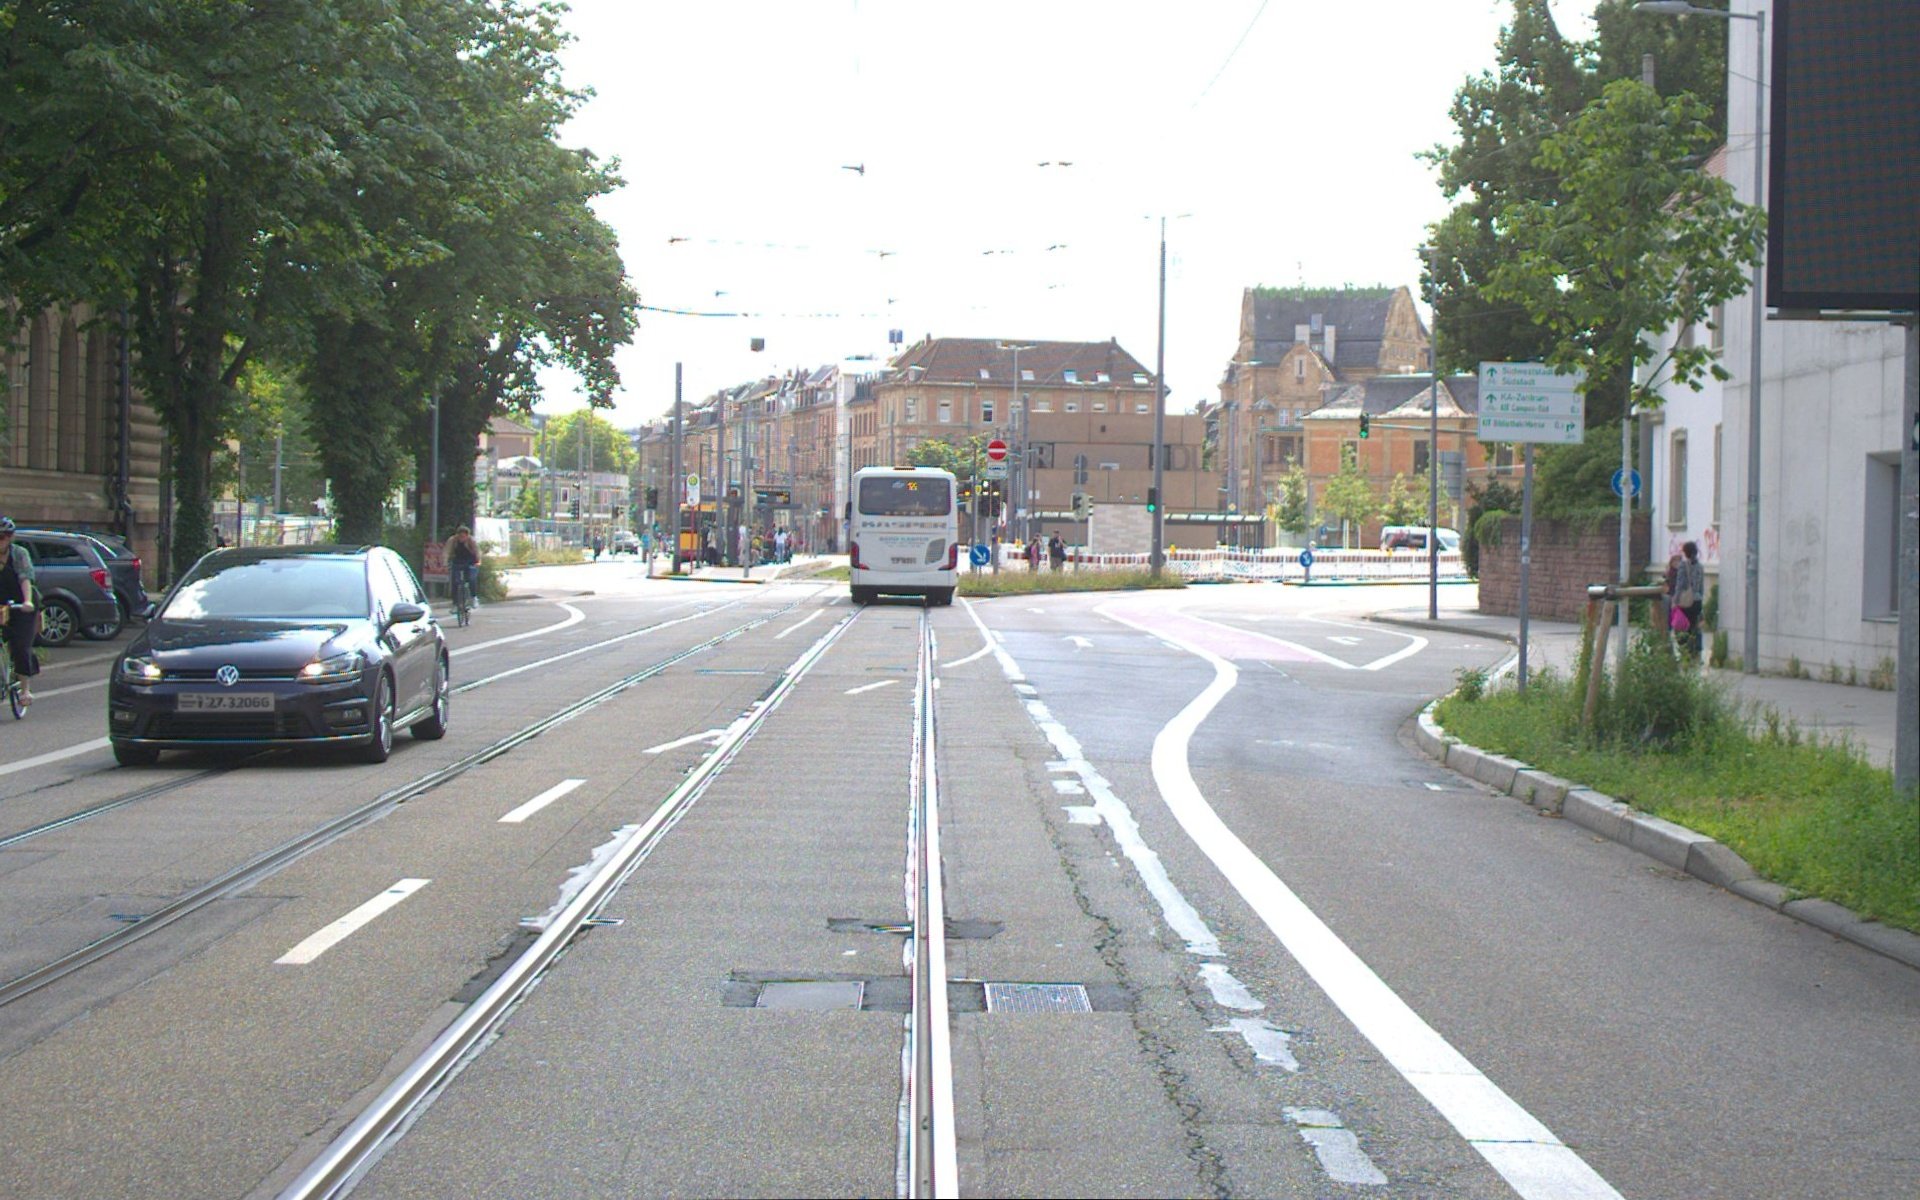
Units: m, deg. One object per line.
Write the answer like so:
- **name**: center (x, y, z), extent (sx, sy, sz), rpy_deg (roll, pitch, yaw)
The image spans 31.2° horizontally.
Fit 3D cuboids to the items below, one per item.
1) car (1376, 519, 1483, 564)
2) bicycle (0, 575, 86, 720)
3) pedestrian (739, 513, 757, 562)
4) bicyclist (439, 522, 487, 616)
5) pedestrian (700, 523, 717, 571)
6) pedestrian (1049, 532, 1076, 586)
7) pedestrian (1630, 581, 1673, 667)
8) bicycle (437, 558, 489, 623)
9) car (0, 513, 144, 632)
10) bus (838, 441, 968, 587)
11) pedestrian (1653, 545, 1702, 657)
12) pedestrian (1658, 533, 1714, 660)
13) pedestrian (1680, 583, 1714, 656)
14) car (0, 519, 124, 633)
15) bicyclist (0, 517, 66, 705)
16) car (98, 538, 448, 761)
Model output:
- **car**: center (24.624, -3.081, 180.584), extent (2.294, 2.311, 5.588), rpy_deg (1, 1, -37)
- **bicycle**: center (-7.775, 0.388, 28.098), extent (0.602, 1.093, 2.023), rpy_deg (-4, 1, 2)
- **pedestrian**: center (-8.138, -2.405, 131.907), extent (0.611, 1.878, 0.794), rpy_deg (1, 1, 0)
- **bicyclist**: center (-8.110, -0.516, 56.120), extent (0.691, 1.514, 0.868), rpy_deg (0, 1, -4)
- **pedestrian**: center (-9.984, -2.098, 136.492), extent (0.611, 1.878, 0.794), rpy_deg (1, 1, 0)
- **pedestrian**: center (3.592, -1.436, 120.537), extent (0.612, 1.878, 0.792), rpy_deg (1, 1, 28)
- **pedestrian**: center (9.805, 0.334, 48.751), extent (0.421, 1.196, 0.406), rpy_deg (-2, 3, -33)
- **bicycle**: center (-8.104, -0.163, 56.135), extent (0.698, 1.014, 1.820), rpy_deg (0, 1, -4)
- **car**: center (-13.521, -0.422, 46.879), extent (4.227, 1.545, 1.927), rpy_deg (1, 1, -32)
- **bus**: center (-1.475, -2.088, 86.713), extent (2.917, 3.317, 12.207), rpy_deg (2, 1, -1)
- **pedestrian**: center (10.264, 0.014, 49.203), extent (0.519, 1.575, 0.549), rpy_deg (-1, 2, -10)
- **pedestrian**: center (10.036, -0.053, 47.540), extent (0.685, 1.718, 0.747), rpy_deg (0, 2, 5)
- **pedestrian**: center (10.372, 0.272, 48.374), extent (0.342, 1.007, 0.397), rpy_deg (-1, 2, -9)
- **car**: center (-13.100, -0.331, 44.251), extent (4.227, 1.442, 1.794), rpy_deg (0, 1, -28)
- **bicyclist**: center (-7.797, 0.092, 28.102), extent (0.599, 1.487, 0.882), rpy_deg (-4, 1, 2)
- **car**: center (-4.631, 0.279, 23.680), extent (1.688, 1.397, 3.931), rpy_deg (0, 1, -1)
